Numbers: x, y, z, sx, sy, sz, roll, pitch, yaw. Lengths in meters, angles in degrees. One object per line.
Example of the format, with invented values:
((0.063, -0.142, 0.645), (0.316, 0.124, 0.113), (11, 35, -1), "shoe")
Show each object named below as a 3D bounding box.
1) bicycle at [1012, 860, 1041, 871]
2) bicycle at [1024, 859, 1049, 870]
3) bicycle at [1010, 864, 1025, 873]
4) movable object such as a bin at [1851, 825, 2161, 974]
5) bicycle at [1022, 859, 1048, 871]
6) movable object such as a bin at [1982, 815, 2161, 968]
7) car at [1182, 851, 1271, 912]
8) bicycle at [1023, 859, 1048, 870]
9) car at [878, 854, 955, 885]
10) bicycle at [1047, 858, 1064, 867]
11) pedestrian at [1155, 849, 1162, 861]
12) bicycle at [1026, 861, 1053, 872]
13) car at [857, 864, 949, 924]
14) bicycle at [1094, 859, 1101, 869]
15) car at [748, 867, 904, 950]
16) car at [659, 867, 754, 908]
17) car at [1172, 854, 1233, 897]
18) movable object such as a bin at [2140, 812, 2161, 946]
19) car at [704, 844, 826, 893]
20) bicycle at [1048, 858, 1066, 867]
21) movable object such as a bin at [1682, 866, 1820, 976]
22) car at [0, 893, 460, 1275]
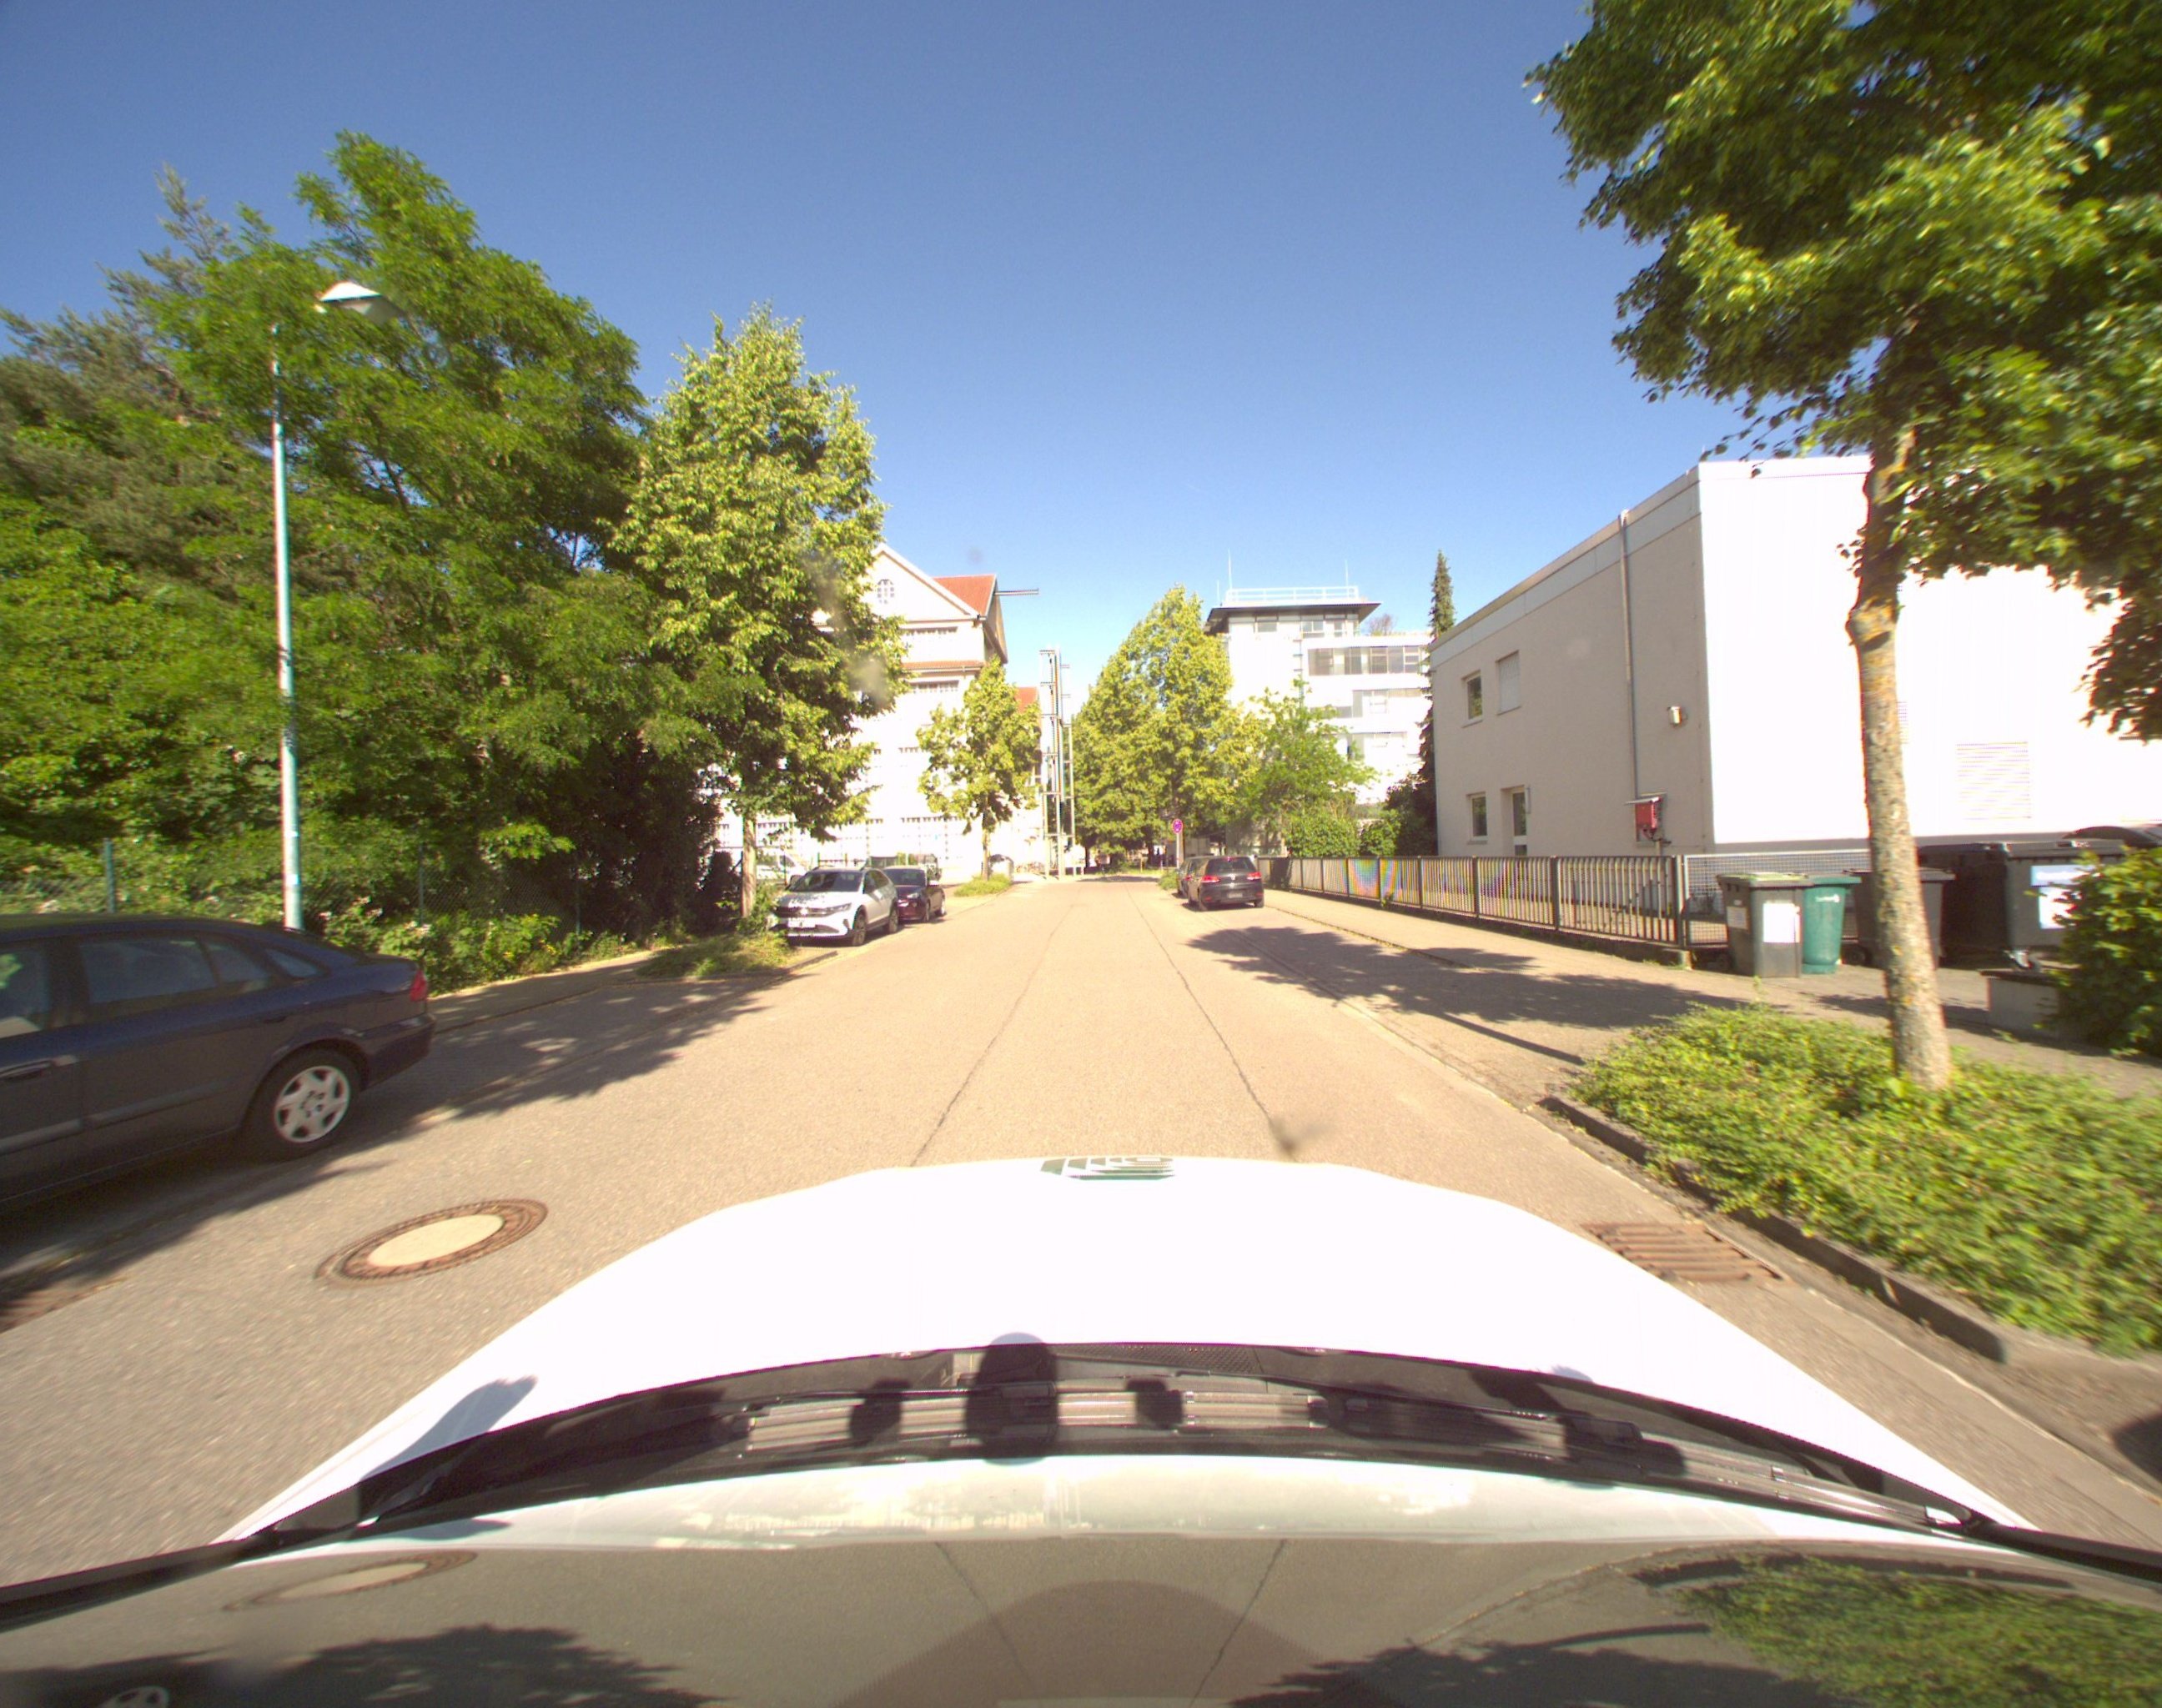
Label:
((-5.382, 1.131, 80.936), (2.794, 1.063, 0.718), (-2, 0, -3), "bicycle")
((-4.884, 1.142, 90.079), (2.725, 1.150, 0.718), (-2, 0, -3), "bicycle")
((-6.110, 1.385, 78.149), (0.773, 0.792, 2.892), (-2, 0, 9), "bicycle")
((9.530, 0.432, 8.528), (1.361, 1.357, 1.632), (-2, 0, 2), "movable object such as a bin")
((-4.948, 1.156, 87.968), (2.794, 1.150, 0.718), (-2, 0, -3), "bicycle")
((10.948, 0.333, 8.450), (1.361, 1.448, 1.632), (-2, 0, 2), "movable object such as a bin")
((4.050, 0.716, 23.243), (1.778, 1.516, 4.000), (-2, 0, 0), "car")
((-4.992, 1.182, 89.291), (2.725, 1.150, 0.718), (-2, 0, -3), "bicycle")
((-9.766, 0.934, 48.562), (4.073, 1.695, 2.001), (-2, -1, 3), "car")
((-3.180, 1.032, 100.512), (2.049, 1.066, 0.507), (-2, 0, 3), "bicycle")
((9.707, 0.116, 102.104), (0.713, 1.550, 0.692), (-2, 0, 8), "pedestrian")
((-4.353, 1.290, 85.493), (2.794, 1.063, 0.718), (-2, 0, -3), "bicycle")
((-4.687, 1.008, 21.940), (1.712, 1.474, 3.545), (0, 0, 0), "car")
((1.960, 1.146, 94.912), (0.618, 1.197, 2.129), (-2, 0, -3), "bicycle")
((-5.057, 1.016, 16.752), (1.833, 1.474, 4.003), (0, 0, 1), "car")
((-16.944, 1.458, 37.145), (1.984, 1.609, 4.431), (-2, 0, 4), "car")
((4.384, 0.760, 29.936), (1.740, 1.422, 4.426), (-1, -1, 2), "car")
((12.321, 0.249, 8.135), (1.325, 1.448, 1.632), (-2, 0, 2), "movable object such as a bin")
((-18.623, 0.825, 48.203), (6.240, 2.597, 2.165), (-2, 0, 1), "car")
((-2.981, 1.012, 101.315), (2.049, 1.066, 0.507), (-2, 0, 3), "bicycle")
((6.997, 0.670, 8.558), (0.630, 1.070, 0.979), (-1, -1, 1), "movable object such as a bin")
((-5.345, 0.993, 3.548), (1.833, 1.474, 4.361), (0, 0, 1), "car")
